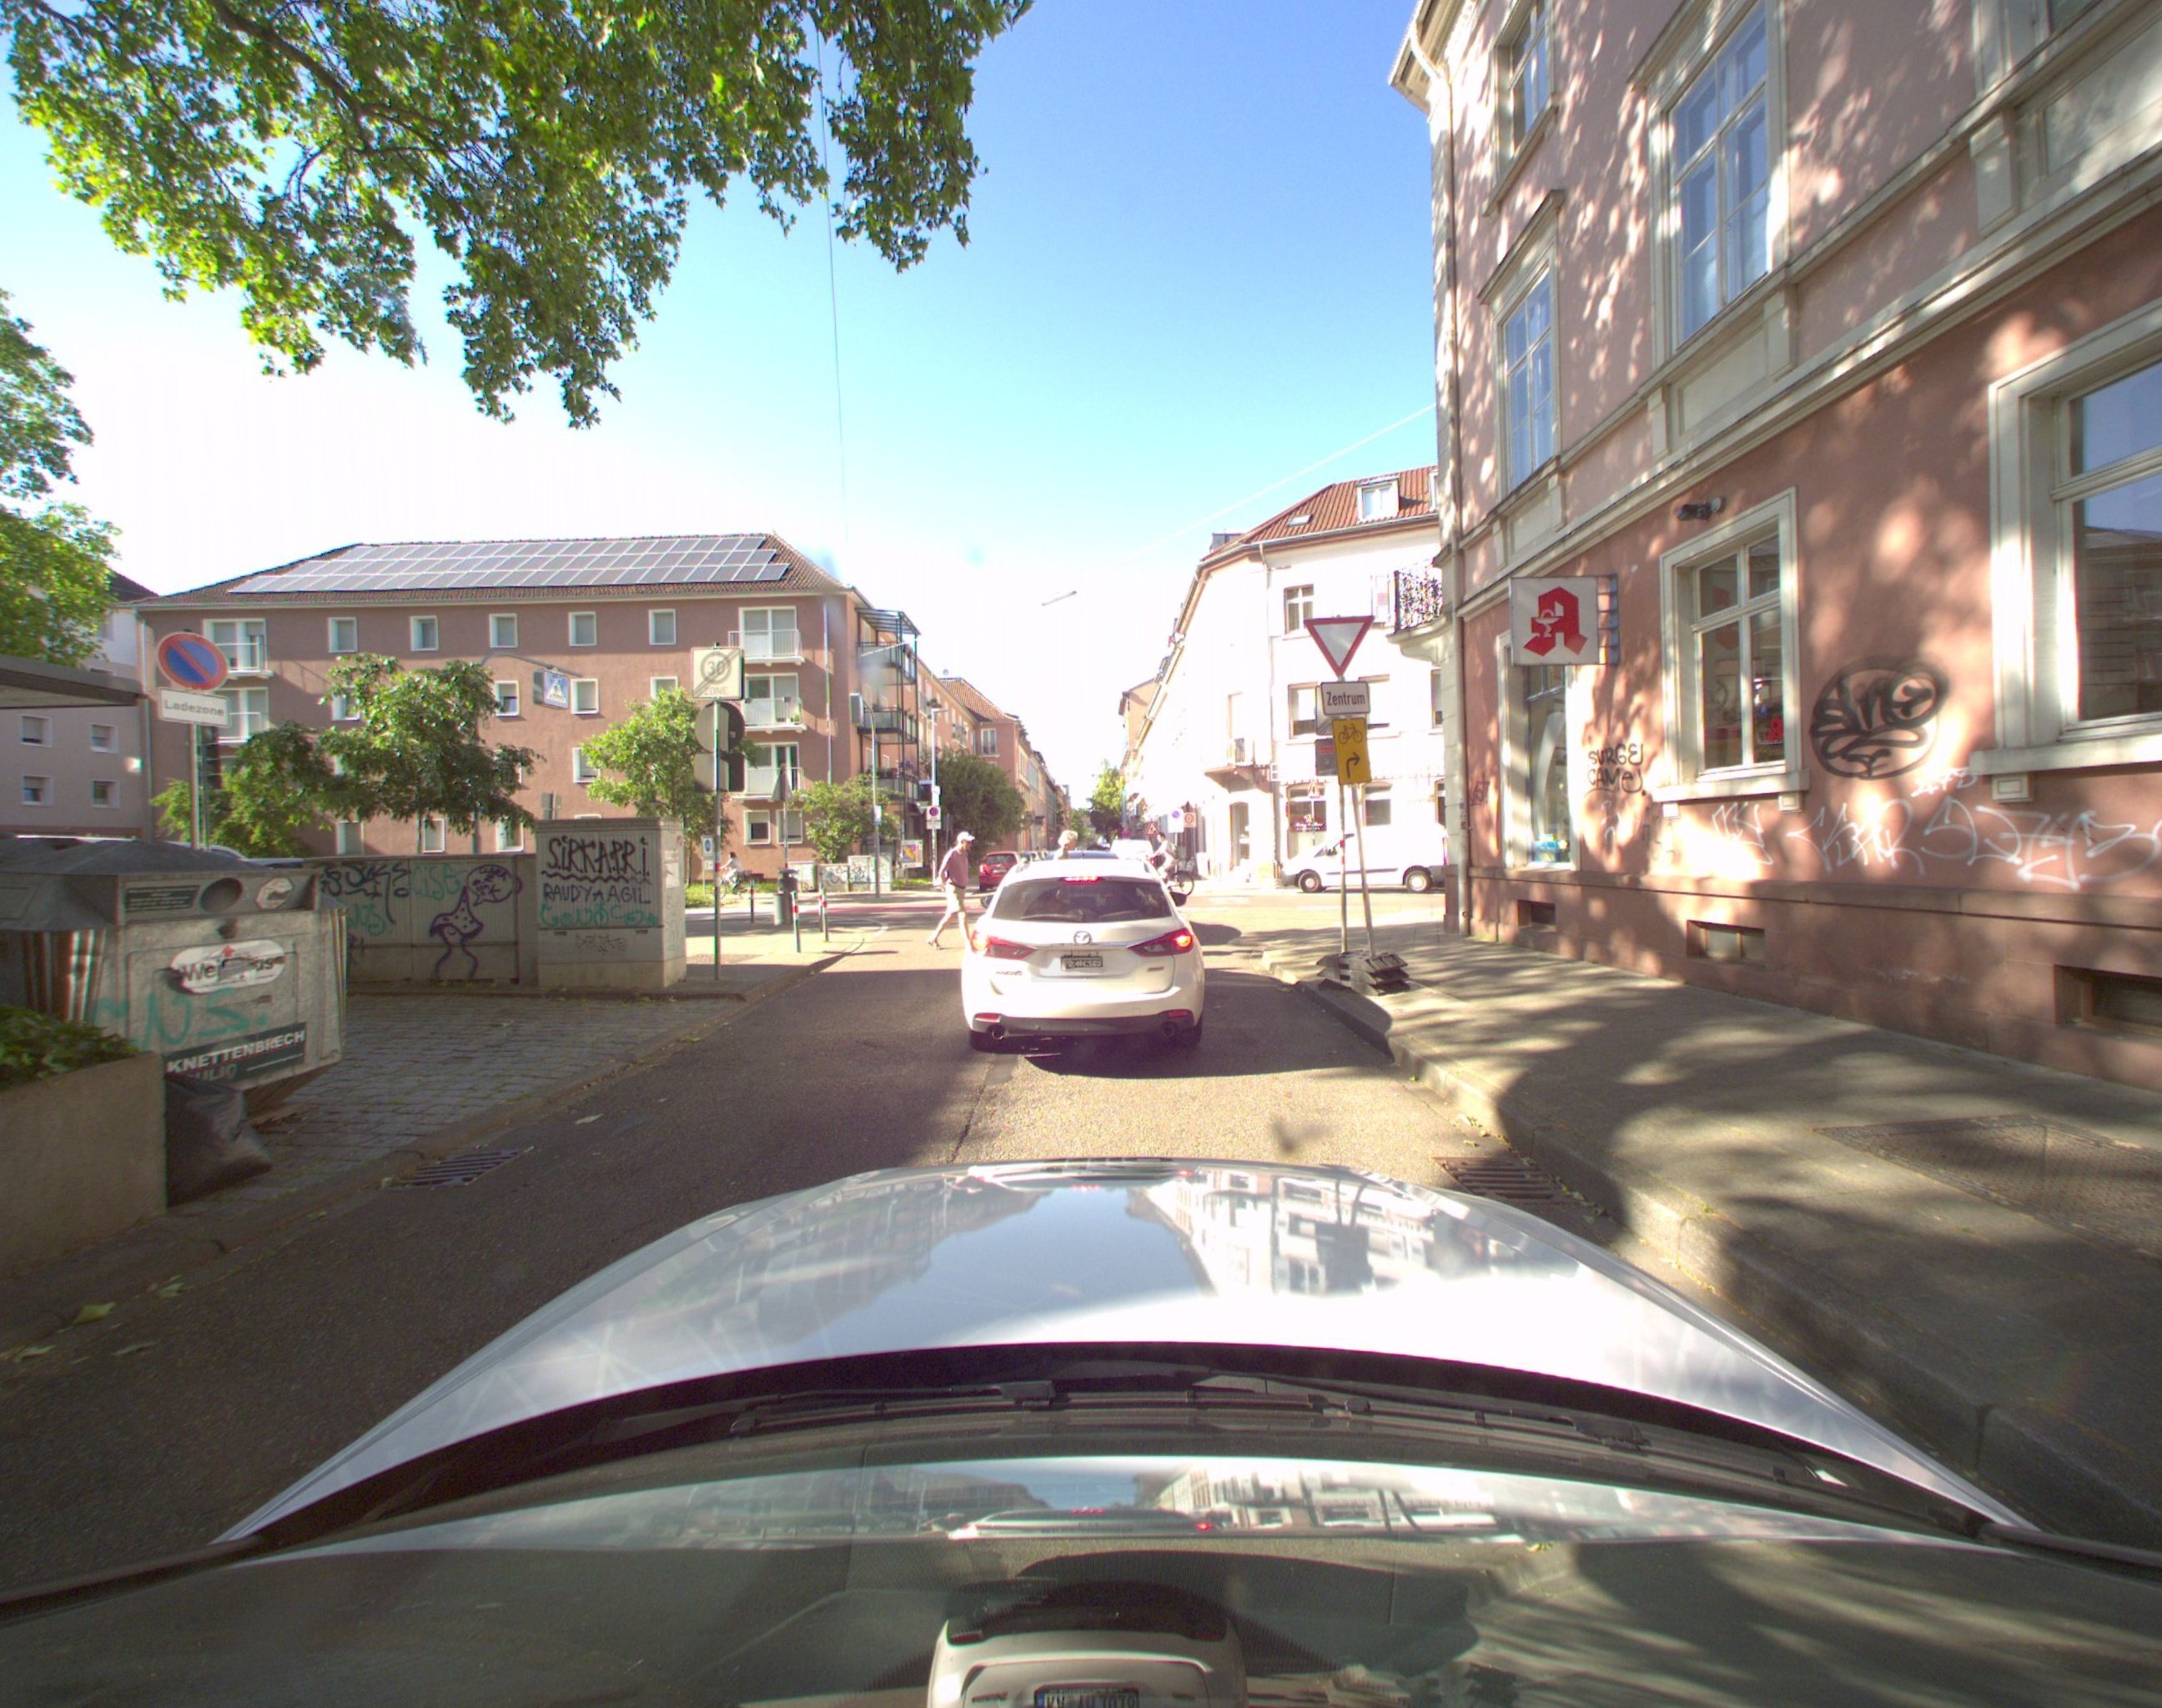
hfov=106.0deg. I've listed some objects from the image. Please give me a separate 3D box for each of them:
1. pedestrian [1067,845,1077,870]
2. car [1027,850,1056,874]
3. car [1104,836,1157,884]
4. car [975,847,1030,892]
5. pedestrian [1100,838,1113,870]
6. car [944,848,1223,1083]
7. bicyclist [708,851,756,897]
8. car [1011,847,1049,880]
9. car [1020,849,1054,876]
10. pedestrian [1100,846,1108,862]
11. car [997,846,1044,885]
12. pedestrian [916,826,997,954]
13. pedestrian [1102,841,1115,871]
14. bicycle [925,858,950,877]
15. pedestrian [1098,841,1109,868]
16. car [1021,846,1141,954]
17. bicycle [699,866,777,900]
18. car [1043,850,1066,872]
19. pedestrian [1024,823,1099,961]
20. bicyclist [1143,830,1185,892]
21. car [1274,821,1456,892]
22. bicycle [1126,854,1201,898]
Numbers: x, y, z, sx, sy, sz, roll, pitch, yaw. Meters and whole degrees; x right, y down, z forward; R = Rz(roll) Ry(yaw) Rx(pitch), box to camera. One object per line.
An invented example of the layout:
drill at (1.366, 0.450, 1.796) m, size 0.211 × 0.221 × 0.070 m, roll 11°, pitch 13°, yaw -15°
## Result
pedestrian at (-0.643, 0.263, 59.054) m, size 0.645 × 1.797 × 0.639 m, roll -2°, pitch -1°, yaw 1°
car at (-2.568, 0.522, 54.094) m, size 1.596 × 1.477 × 3.568 m, roll -2°, pitch 0°, yaw 1°
car at (2.070, 0.255, 35.375) m, size 1.937 × 1.948 × 4.076 m, roll -1°, pitch 0°, yaw -2°
car at (-3.032, 0.568, 32.183) m, size 1.764 × 1.588 × 3.726 m, roll -2°, pitch 1°, yaw 0°
pedestrian at (1.576, -0.022, 50.007) m, size 0.768 × 1.918 × 0.835 m, roll -2°, pitch -1°, yaw 1°
car at (0.026, 0.724, 7.281) m, size 1.818 × 1.514 × 3.823 m, roll -1°, pitch 0°, yaw 0°
bicyclist at (-11.690, 0.661, 27.283) m, size 1.186 × 1.516 × 0.844 m, roll -2°, pitch -1°, yaw 16°
car at (-2.665, 0.499, 43.295) m, size 1.629 × 1.656 × 3.786 m, roll -2°, pitch 0°, yaw 1°
car at (-2.672, 0.501, 50.082) m, size 1.714 × 1.576 × 3.727 m, roll -2°, pitch 0°, yaw 1°
pedestrian at (2.294, 0.005, 80.138) m, size 0.768 × 1.627 × 0.835 m, roll -2°, pitch -1°, yaw 1°
car at (-2.752, 0.502, 37.781) m, size 1.714 × 1.682 × 3.727 m, roll -2°, pitch 0°, yaw 1°
pedestrian at (-1.866, 0.506, 12.242) m, size 0.957 × 1.838 × 0.686 m, roll 0°, pitch 2°, yaw 36°
pedestrian at (1.790, 0.117, 53.458) m, size 0.768 × 1.918 × 0.835 m, roll -2°, pitch -1°, yaw 1°
bicycle at (-7.662, 0.726, 43.494) m, size 0.607 × 0.932 × 1.895 m, roll -1°, pitch -1°, yaw -32°
pedestrian at (1.824, 0.047, 65.371) m, size 0.768 × 2.118 × 0.835 m, roll -2°, pitch -1°, yaw 1°
car at (0.009, 0.645, 13.428) m, size 1.677 × 1.481 × 3.660 m, roll -2°, pitch 0°, yaw 0°
bicycle at (-11.468, 0.972, 27.248) m, size 2.406 × 1.080 × 0.793 m, roll -2°, pitch -1°, yaw 15°
car at (-2.100, 0.550, 64.402) m, size 1.567 × 1.585 × 3.612 m, roll -2°, pitch 0°, yaw 1°
pedestrian at (-0.251, 0.510, 11.287) m, size 0.848 × 1.815 × 0.817 m, roll -2°, pitch 0°, yaw 8°
bicyclist at (2.311, 0.186, 22.533) m, size 1.084 × 1.644 × 0.758 m, roll -2°, pitch -1°, yaw 8°
car at (8.359, 0.129, 24.020) m, size 4.845 × 1.929 × 2.011 m, roll -1°, pitch -2°, yaw 25°
bicycle at (2.291, 0.602, 22.538) m, size 1.997 × 1.144 × 0.685 m, roll -2°, pitch -1°, yaw 8°
